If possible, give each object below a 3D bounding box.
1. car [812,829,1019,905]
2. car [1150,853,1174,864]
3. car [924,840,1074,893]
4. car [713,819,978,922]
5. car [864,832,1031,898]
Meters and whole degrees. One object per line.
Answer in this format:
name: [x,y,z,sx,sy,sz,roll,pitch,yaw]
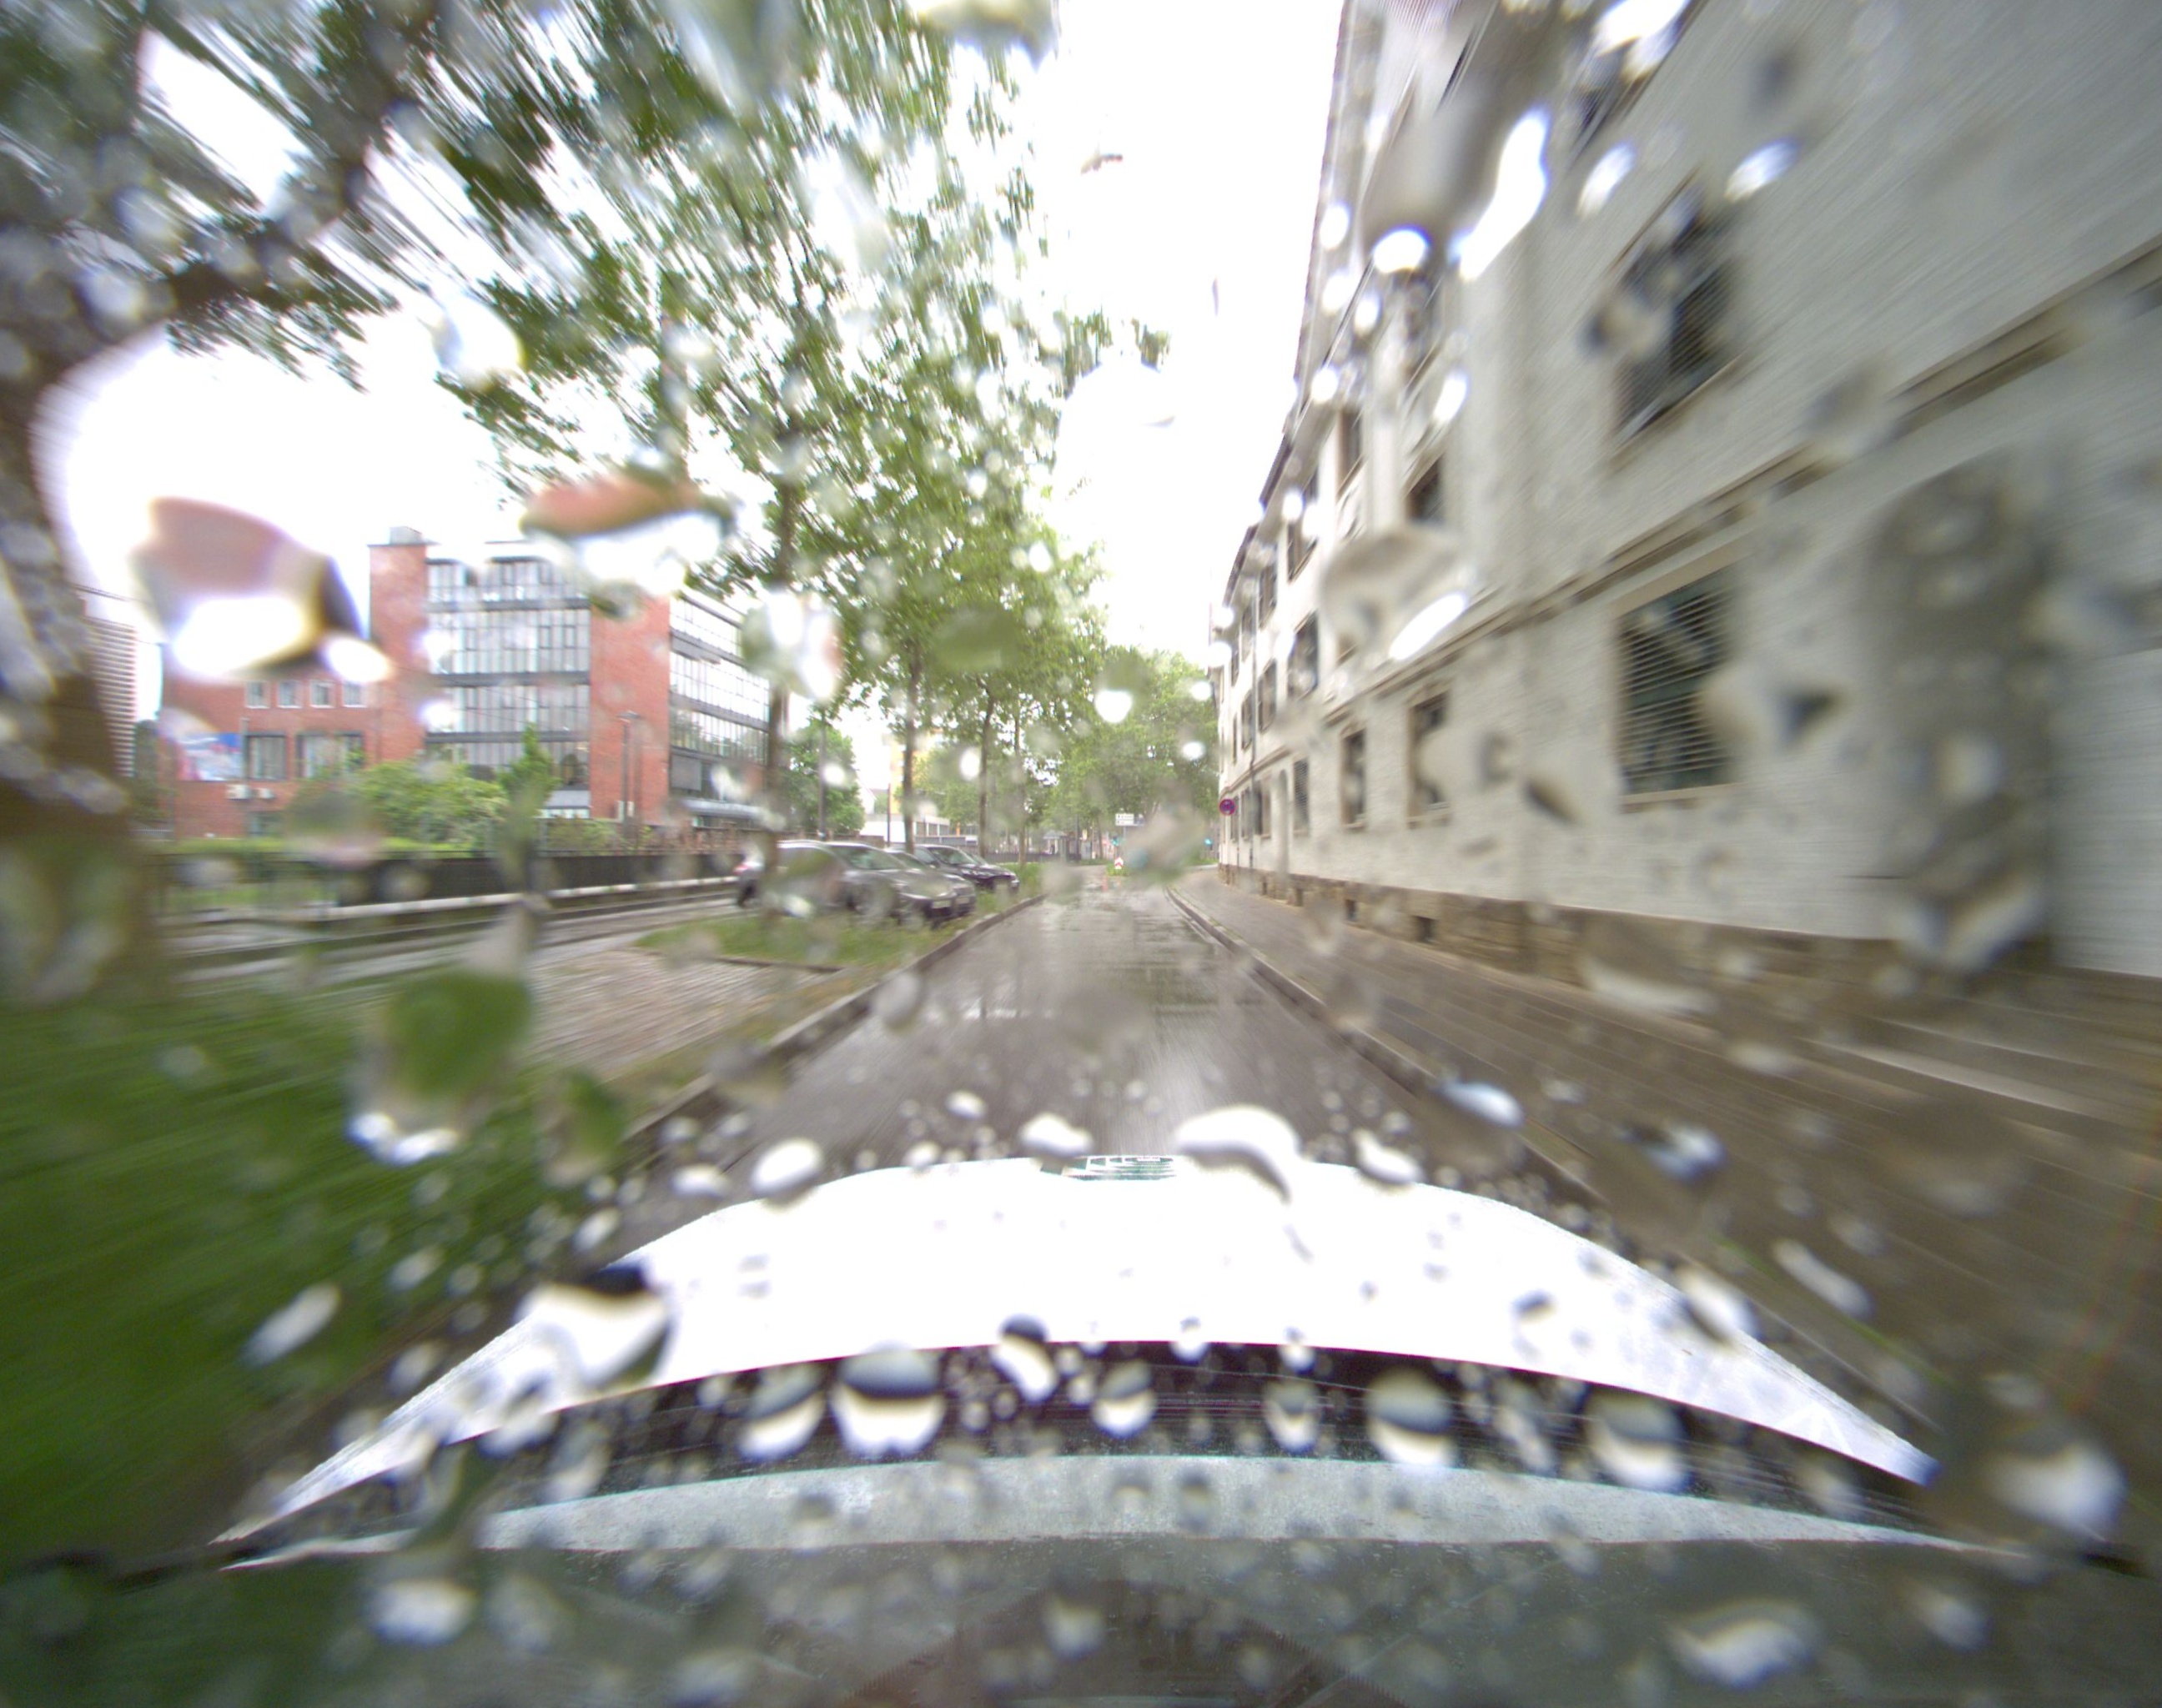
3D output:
car: [-3.784,0.271,18.332,4.501,1.521,1.935,0,-1,33]
car: [14.055,0.755,141.139,4.020,1.597,1.977,4,-2,-41]
car: [-2.568,0.362,25.213,4.308,1.512,1.973,-1,1,32]
car: [-4.267,0.228,14.659,4.417,1.597,1.935,1,0,27]
car: [-3.825,0.279,23.109,4.474,1.714,1.973,-1,1,32]
